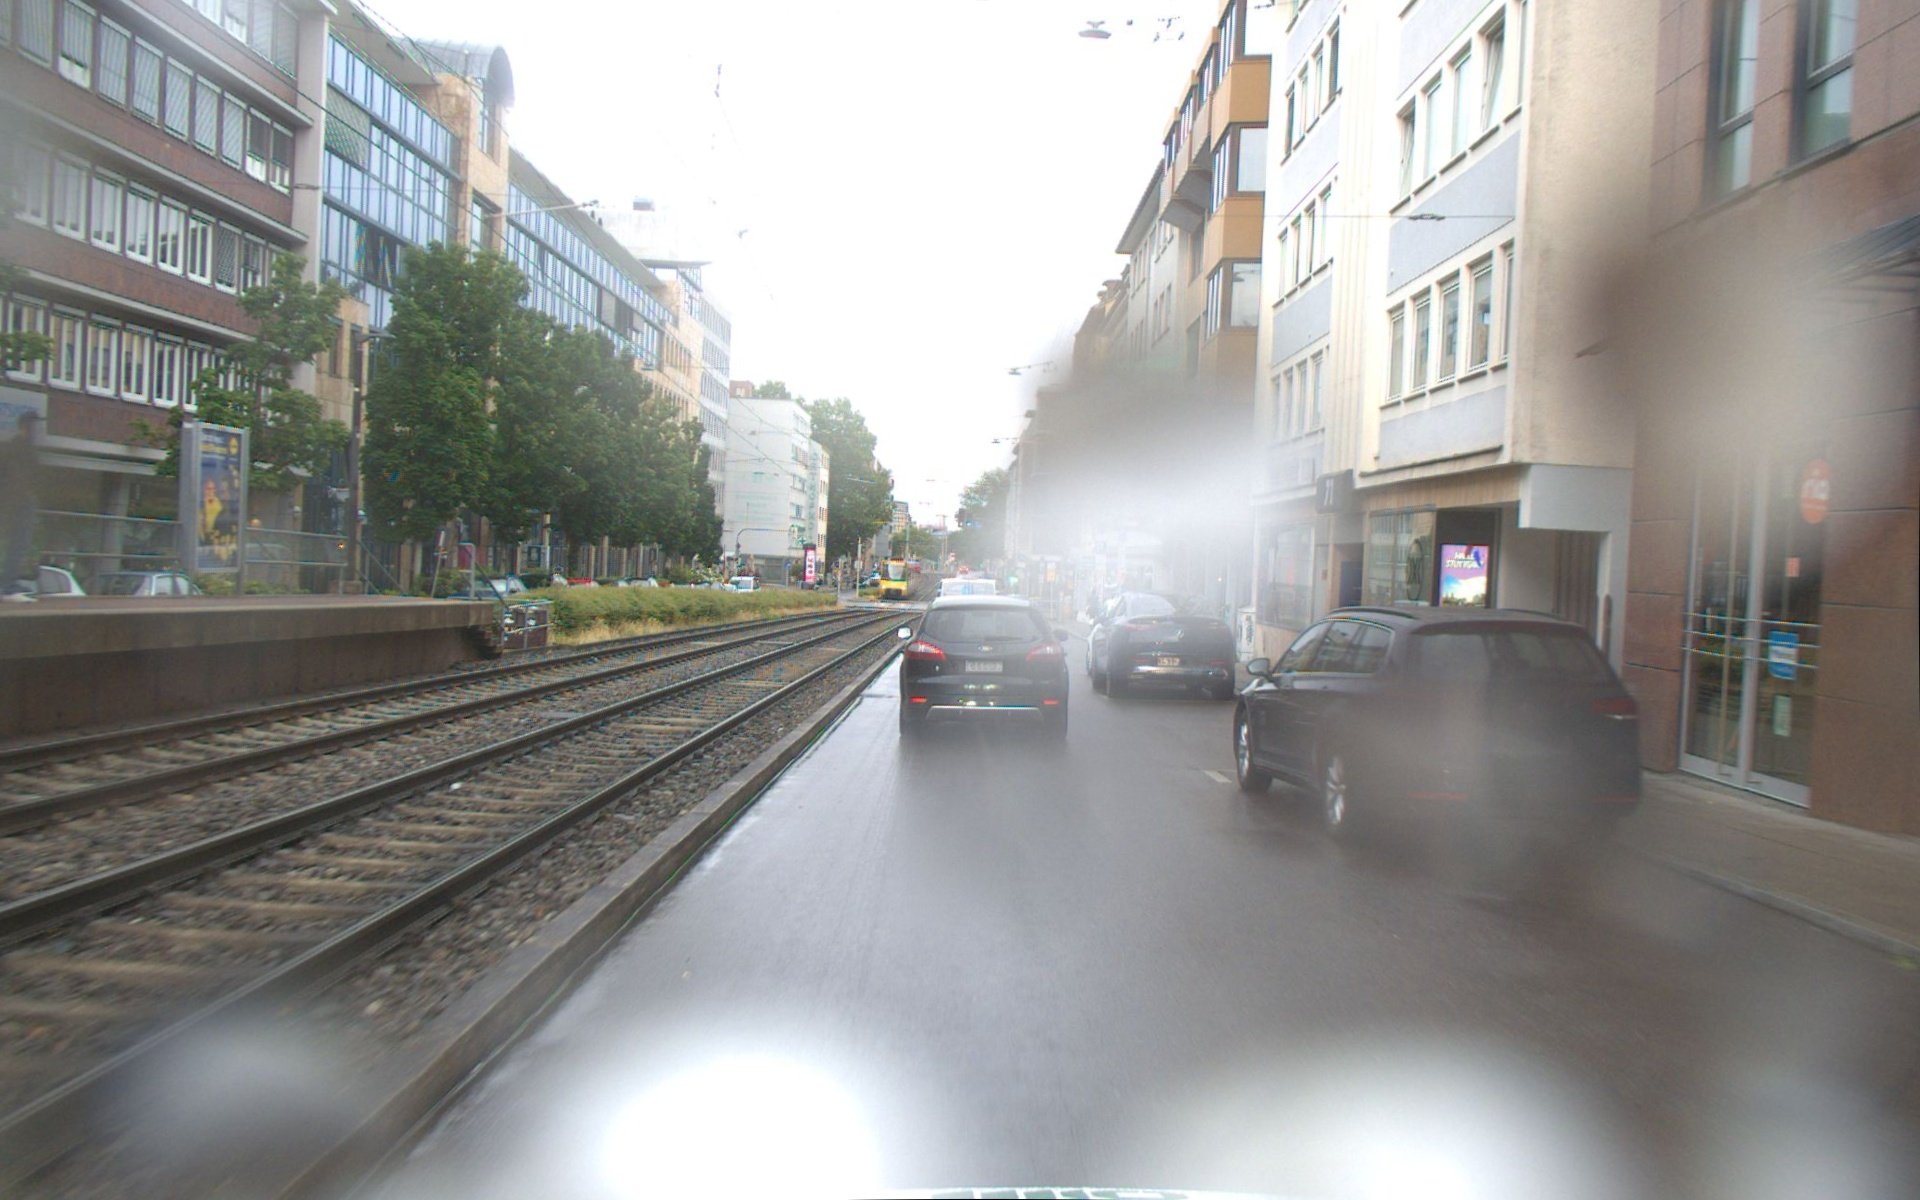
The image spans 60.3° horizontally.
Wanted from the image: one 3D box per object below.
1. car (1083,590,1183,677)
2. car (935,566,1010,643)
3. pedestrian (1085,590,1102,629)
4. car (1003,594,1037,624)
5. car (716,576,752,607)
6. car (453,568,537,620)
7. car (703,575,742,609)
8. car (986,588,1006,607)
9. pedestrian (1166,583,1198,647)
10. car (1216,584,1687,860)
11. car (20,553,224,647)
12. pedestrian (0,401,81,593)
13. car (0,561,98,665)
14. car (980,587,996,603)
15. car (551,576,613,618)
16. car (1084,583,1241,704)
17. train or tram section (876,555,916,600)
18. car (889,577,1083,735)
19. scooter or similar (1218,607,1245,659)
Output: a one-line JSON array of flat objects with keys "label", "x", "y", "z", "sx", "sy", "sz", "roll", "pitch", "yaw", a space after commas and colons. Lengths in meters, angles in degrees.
[{"label": "car", "x": 3.245, "y": 0.598, "z": 31.569, "sx": 1.525, "sy": 1.502, "sz": 3.566, "roll": 2, "pitch": 0, "yaw": 1}, {"label": "car", "x": 0.393, "y": 0.146, "z": 44.939, "sx": 1.867, "sy": 1.897, "sz": 4.574, "roll": 2, "pitch": -1, "yaw": 2}, {"label": "pedestrian", "x": 5.460, "y": 0.386, "z": 67.672, "sx": 0.599, "sy": 1.564, "sz": 0.649, "roll": 2, "pitch": 0, "yaw": -1}, {"label": "car", "x": 3.516, "y": 0.531, "z": 97.902, "sx": 1.867, "sy": 1.662, "sz": 4.574, "roll": 2, "pitch": -1, "yaw": 1}, {"label": "car", "x": -14.615, "y": -0.524, "z": 107.073, "sx": 1.868, "sy": 1.897, "sz": 4.571, "roll": 2, "pitch": -1, "yaw": -3}, {"label": "car", "x": -14.228, "y": -0.184, "z": 50.831, "sx": 1.537, "sy": 1.461, "sz": 4.175, "roll": 2, "pitch": 0, "yaw": -3}, {"label": "car", "x": -14.347, "y": -0.450, "z": 100.240, "sx": 1.868, "sy": 1.897, "sz": 4.571, "roll": 2, "pitch": -1, "yaw": -3}, {"label": "car", "x": 3.492, "y": -0.228, "z": 159.788, "sx": 1.867, "sy": 1.662, "sz": 4.574, "roll": 2, "pitch": -1, "yaw": 1}, {"label": "pedestrian", "x": 6.003, "y": 0.401, "z": 44.809, "sx": 0.681, "sy": 1.680, "sz": 0.965, "roll": 2, "pitch": 0, "yaw": -1}, {"label": "car", "x": 3.124, "y": 0.685, "z": 11.594, "sx": 1.738, "sy": 1.494, "sz": 4.607, "roll": 2, "pitch": 0, "yaw": -2}, {"label": "car", "x": -14.379, "y": -0.001, "z": 28.645, "sx": 1.537, "sy": 1.461, "sz": 4.175, "roll": 2, "pitch": 0, "yaw": -3}, {"label": "pedestrian", "x": -9.228, "y": -0.994, "z": 16.288, "sx": 0.642, "sy": 1.833, "sz": 0.849, "roll": 2, "pitch": 0, "yaw": -2}, {"label": "car", "x": -14.297, "y": 0.156, "z": 23.958, "sx": 1.537, "sy": 1.461, "sz": 4.236, "roll": 2, "pitch": 0, "yaw": -3}, {"label": "car", "x": 3.252, "y": -0.541, "z": 191.506, "sx": 1.867, "sy": 1.662, "sz": 4.574, "roll": 2, "pitch": -1, "yaw": 1}, {"label": "car", "x": -14.187, "y": -0.125, "z": 62.216, "sx": 1.537, "sy": 1.461, "sz": 4.175, "roll": 2, "pitch": 0, "yaw": -3}, {"label": "car", "x": 3.085, "y": 0.614, "z": 26.199, "sx": 1.770, "sy": 1.660, "sz": 5.169, "roll": 2, "pitch": 0, "yaw": 0}, {"label": "train or tram section", "x": -5.927, "y": -2.013, "z": 153.724, "sx": 3.443, "sy": 3.843, "sz": 11.326, "roll": 2, "pitch": 0, "yaw": -2}, {"label": "car", "x": 0.275, "y": 0.570, "z": 18.076, "sx": 1.867, "sy": 1.488, "sz": 3.445, "roll": 2, "pitch": -1, "yaw": 0}, {"label": "scooter or similar", "x": 5.948, "y": 0.718, "z": 36.265, "sx": 0.205, "sy": 1.102, "sz": 1.231, "roll": 2, "pitch": 0, "yaw": -8}]
